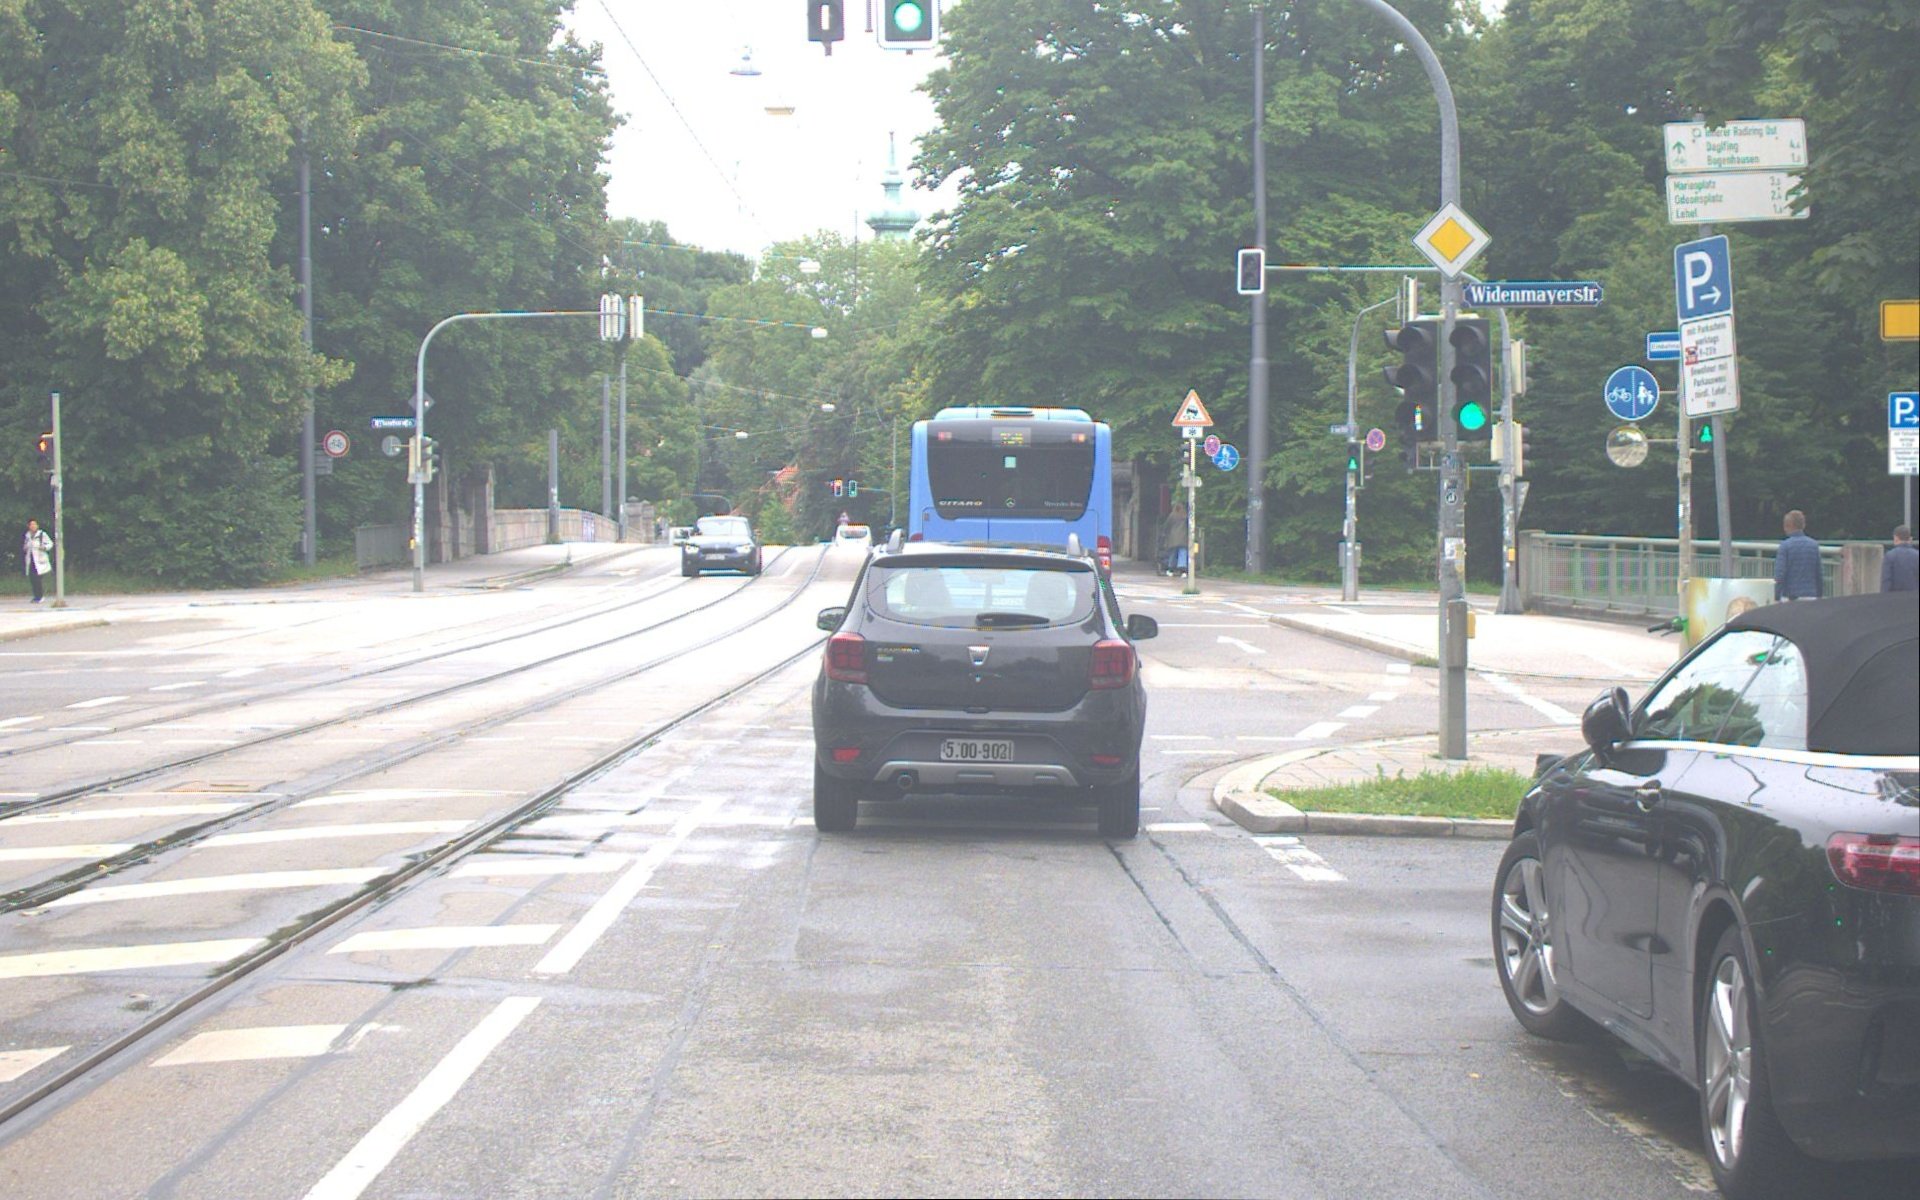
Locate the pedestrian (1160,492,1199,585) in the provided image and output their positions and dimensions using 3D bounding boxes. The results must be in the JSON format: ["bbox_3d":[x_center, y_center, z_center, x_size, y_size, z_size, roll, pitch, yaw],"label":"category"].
[{"bbox_3d":[5.009,-1.402,78.637,0.762,2.109,0.853,2,0,-1],"label":"pedestrian"}]

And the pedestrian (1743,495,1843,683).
[{"bbox_3d":[9.072,-0.121,37.460,0.830,2.007,0.780,2,0,-1],"label":"pedestrian"}]

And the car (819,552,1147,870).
[{"bbox_3d":[0.078,0.543,19.046,1.600,1.551,3.525,2,0,-1],"label":"car"}]

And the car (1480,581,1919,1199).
[{"bbox_3d":[2.610,0.775,9.123,1.714,1.586,4.327,2,0,-1],"label":"car"}]

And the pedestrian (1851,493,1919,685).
[{"bbox_3d":[10.057,-0.112,36.669,0.830,2.007,0.780,2,0,-1],"label":"pedestrian"}]

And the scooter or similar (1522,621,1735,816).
[{"bbox_3d":[3.999,0.695,20.537,1.194,1.092,0.589,2,0,13],"label":"scooter or similar"}]

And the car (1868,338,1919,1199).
[{"bbox_3d":[2.656,0.559,3.576,1.914,1.899,4.808,2,0,-3],"label":"car"}]

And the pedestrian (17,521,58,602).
[{"bbox_3d":[-17.346,-0.721,64.647,0.532,1.496,0.588,2,0,4],"label":"pedestrian"}]

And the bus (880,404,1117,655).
[{"bbox_3d":[0.388,-0.898,45.666,2.678,2.987,6.961,2,0,-2],"label":"bus"}]

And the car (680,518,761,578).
[{"bbox_3d":[-5.751,-1.244,82.959,1.787,1.365,3.400,2,0,-2],"label":"car"}]
